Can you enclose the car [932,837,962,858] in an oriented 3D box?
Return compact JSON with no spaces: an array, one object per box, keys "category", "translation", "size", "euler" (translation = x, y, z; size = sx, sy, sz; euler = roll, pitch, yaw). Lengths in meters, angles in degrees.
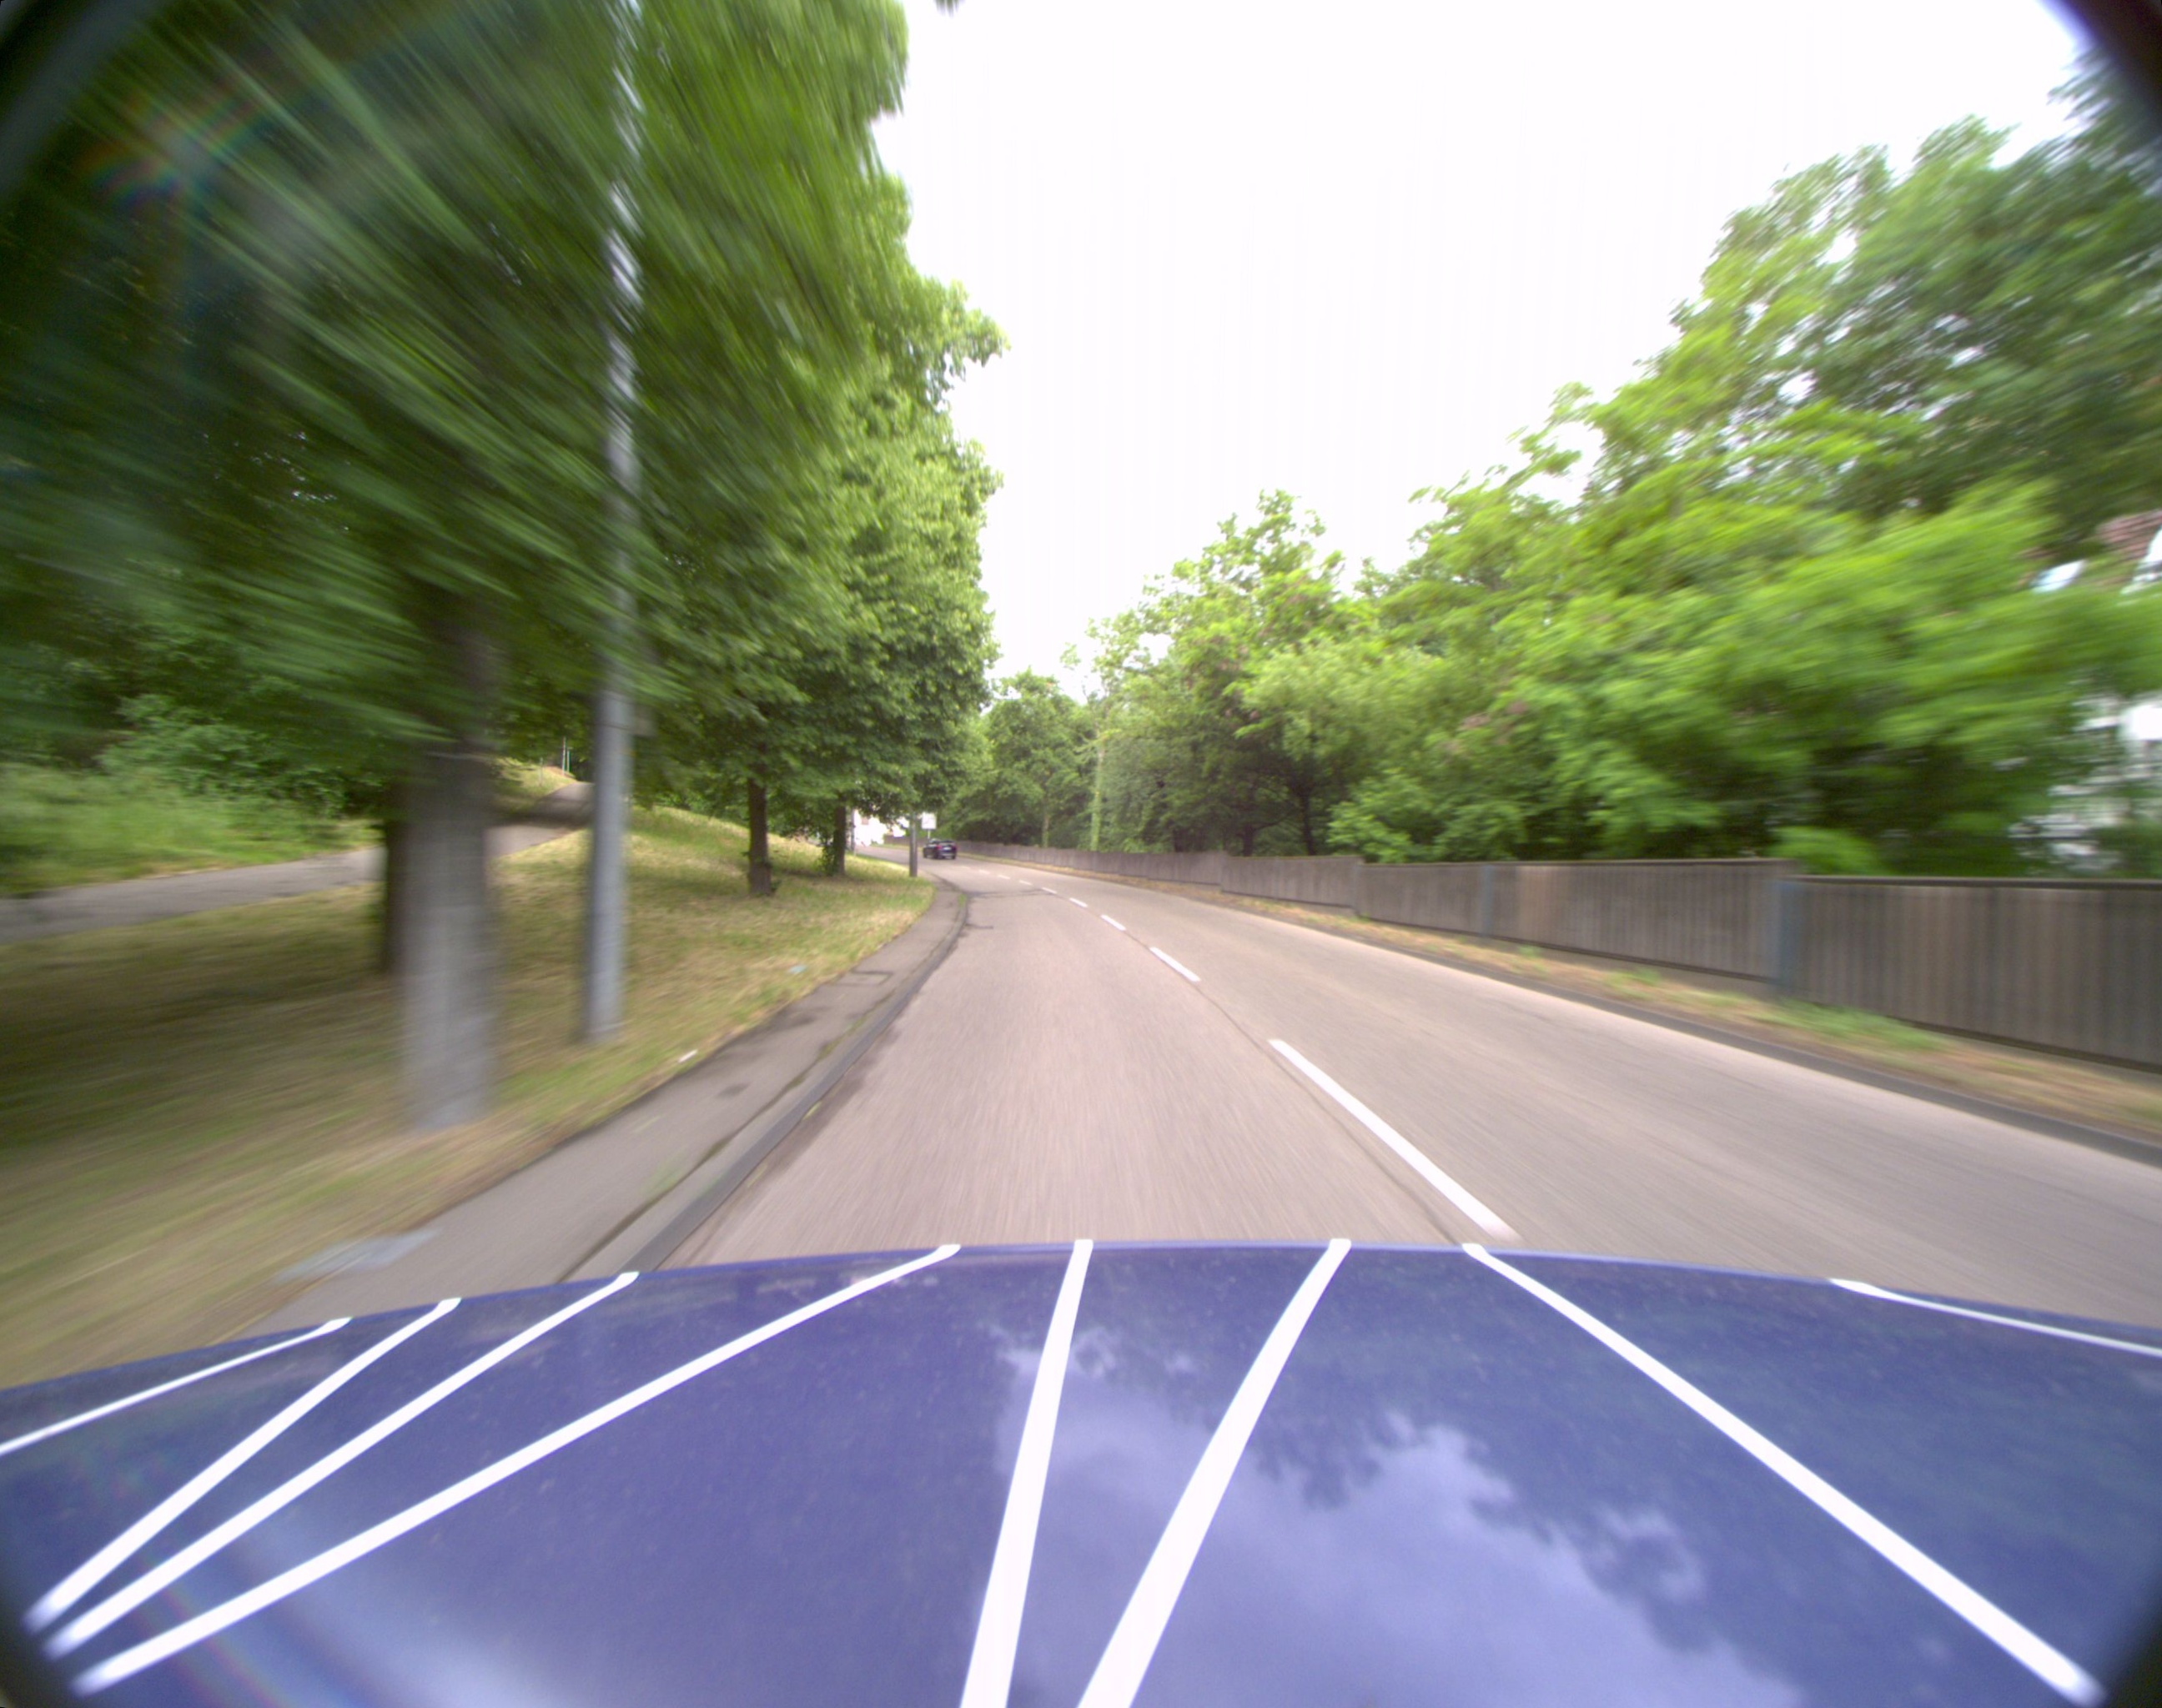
[{"category":"car","translation":[-10.814,-0.559,61.097],"size":[1.732,1.631,4.047],"euler":[-1,1,-19]}]
